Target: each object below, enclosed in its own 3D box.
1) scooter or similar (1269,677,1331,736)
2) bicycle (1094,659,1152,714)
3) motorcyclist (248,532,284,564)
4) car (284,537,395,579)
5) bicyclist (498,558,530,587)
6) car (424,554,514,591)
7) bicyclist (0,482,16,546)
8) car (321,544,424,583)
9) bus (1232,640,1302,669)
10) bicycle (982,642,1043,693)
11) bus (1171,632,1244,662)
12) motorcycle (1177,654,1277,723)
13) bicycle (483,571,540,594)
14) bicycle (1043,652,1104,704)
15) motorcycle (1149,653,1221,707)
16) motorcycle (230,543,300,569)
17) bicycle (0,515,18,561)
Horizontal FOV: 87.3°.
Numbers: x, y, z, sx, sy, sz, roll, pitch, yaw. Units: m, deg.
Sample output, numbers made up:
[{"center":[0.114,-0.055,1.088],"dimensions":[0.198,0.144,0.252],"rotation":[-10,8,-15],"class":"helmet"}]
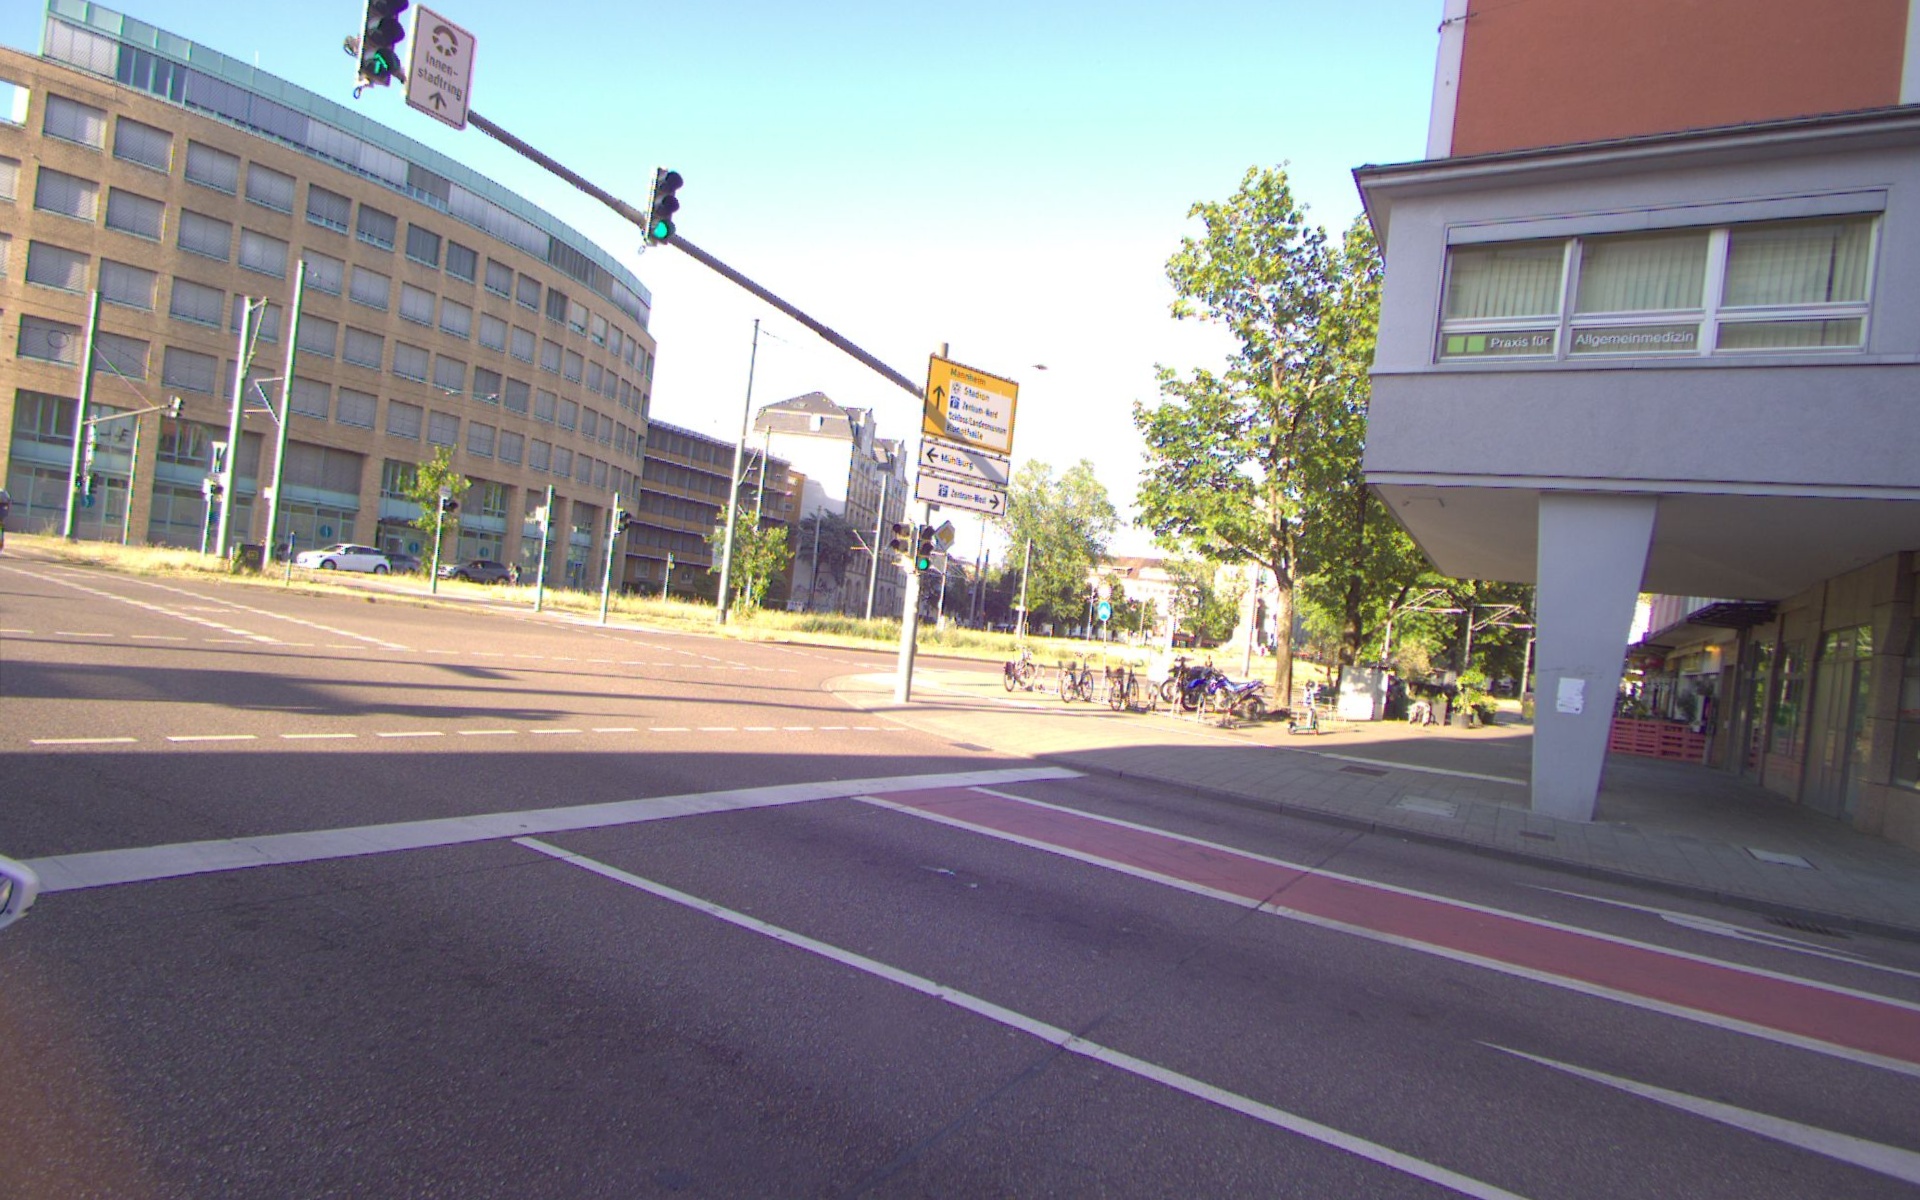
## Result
[{"center":[7.676,2.408,22.716],"dimensions":[1.549,1.251,0.479],"rotation":[6,1,-40],"class":"scooter or similar"},{"center":[3.780,1.958,23.202],"dimensions":[0.583,1.129,2.058],"rotation":[7,1,28],"class":"bicycle"},{"center":[-35.485,-2.649,51.467],"dimensions":[1.014,1.453,1.067],"rotation":[6,0,31],"class":"motorcyclist"},{"center":[-30.708,-2.050,49.920],"dimensions":[1.961,1.509,4.171],"rotation":[6,-1,29],"class":"car"},{"center":[-27.081,-1.676,61.056],"dimensions":[1.134,1.591,1.225],"rotation":[6,0,30],"class":"bicyclist"},{"center":[-27.218,-1.497,55.866],"dimensions":[1.790,1.509,4.058],"rotation":[6,-1,30],"class":"car"},{"center":[-21.665,-1.954,22.392],"dimensions":[0.914,1.385,0.593],"rotation":[7,-1,32],"class":"bicyclist"},{"center":[-32.754,-2.030,56.194],"dimensions":[1.953,1.555,4.488],"rotation":[6,-1,32],"class":"car"},{"center":[46.745,8.324,153.259],"dimensions":[10.927,3.248,2.342],"rotation":[7,-1,-22],"class":"bus"},{"center":[1.318,1.645,24.643],"dimensions":[0.584,1.129,1.974],"rotation":[7,1,29],"class":"bicycle"},{"center":[36.777,7.031,149.194],"dimensions":[10.967,3.248,2.399],"rotation":[7,-1,-22],"class":"bus"},{"center":[6.683,2.203,25.182],"dimensions":[2.224,1.409,0.844],"rotation":[7,-1,19],"class":"motorcycle"},{"center":[-27.178,-1.049,61.021],"dimensions":[1.134,1.012,2.966],"rotation":[6,-1,29],"class":"bicycle"},{"center":[2.708,1.821,23.820],"dimensions":[0.584,1.129,2.003],"rotation":[7,1,29],"class":"bicycle"},{"center":[6.276,2.226,27.984],"dimensions":[2.044,1.324,0.880],"rotation":[7,-1,-44],"class":"motorcycle"},{"center":[-35.537,-2.241,51.456],"dimensions":[1.014,0.975,2.722],"rotation":[6,-1,30],"class":"motorcycle"},{"center":[-21.811,-1.466,22.454],"dimensions":[1.945,0.954,0.593],"rotation":[7,-2,32],"class":"bicycle"}]
